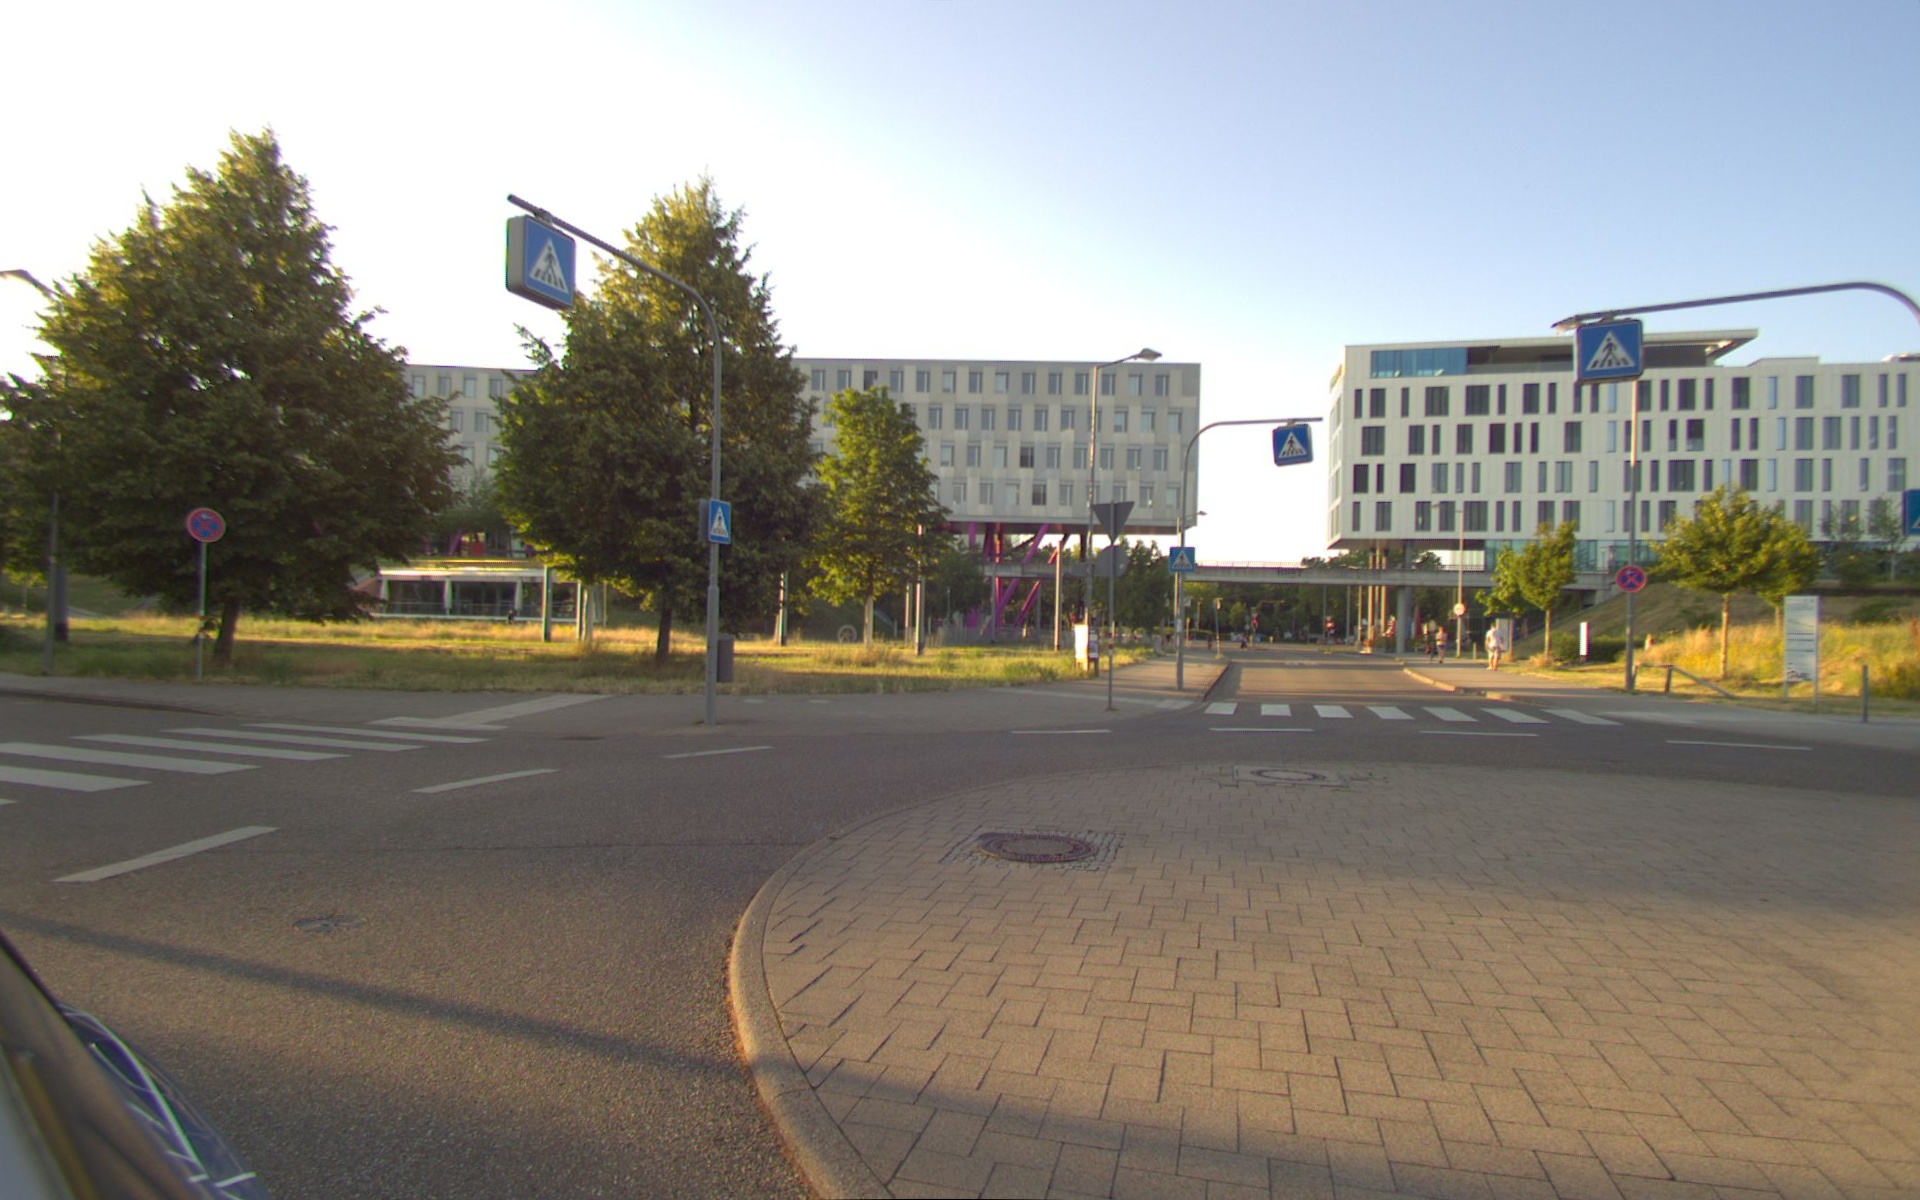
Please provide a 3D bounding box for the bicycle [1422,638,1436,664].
[{"bbox_3d":[22.391,2.436,48.304,0.448,1.177,1.927,1,-1,21],"label":"bicycle"}]

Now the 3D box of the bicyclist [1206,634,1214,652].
[{"bbox_3d":[24.313,4.190,98.306,0.612,1.675,1.029,1,-1,20],"label":"bicyclist"}]

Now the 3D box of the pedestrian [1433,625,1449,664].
[{"bbox_3d":[22.866,2.124,48.132,0.592,1.815,0.812,1,-1,22],"label":"pedestrian"}]

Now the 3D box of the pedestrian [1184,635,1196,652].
[{"bbox_3d":[25.034,4.714,110.251,1.043,1.848,0.895,1,-1,2],"label":"pedestrian"}]

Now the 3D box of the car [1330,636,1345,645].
[{"bbox_3d":[71.466,7.728,191.477,1.501,1.618,3.356,0,-1,41],"label":"car"}]

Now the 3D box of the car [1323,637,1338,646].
[{"bbox_3d":[69.139,7.662,188.630,1.501,1.618,3.356,0,-1,41],"label":"car"}]

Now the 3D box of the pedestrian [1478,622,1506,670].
[{"bbox_3d":[20.006,1.722,38.054,0.828,1.780,0.812,1,-1,22],"label":"pedestrian"}]
